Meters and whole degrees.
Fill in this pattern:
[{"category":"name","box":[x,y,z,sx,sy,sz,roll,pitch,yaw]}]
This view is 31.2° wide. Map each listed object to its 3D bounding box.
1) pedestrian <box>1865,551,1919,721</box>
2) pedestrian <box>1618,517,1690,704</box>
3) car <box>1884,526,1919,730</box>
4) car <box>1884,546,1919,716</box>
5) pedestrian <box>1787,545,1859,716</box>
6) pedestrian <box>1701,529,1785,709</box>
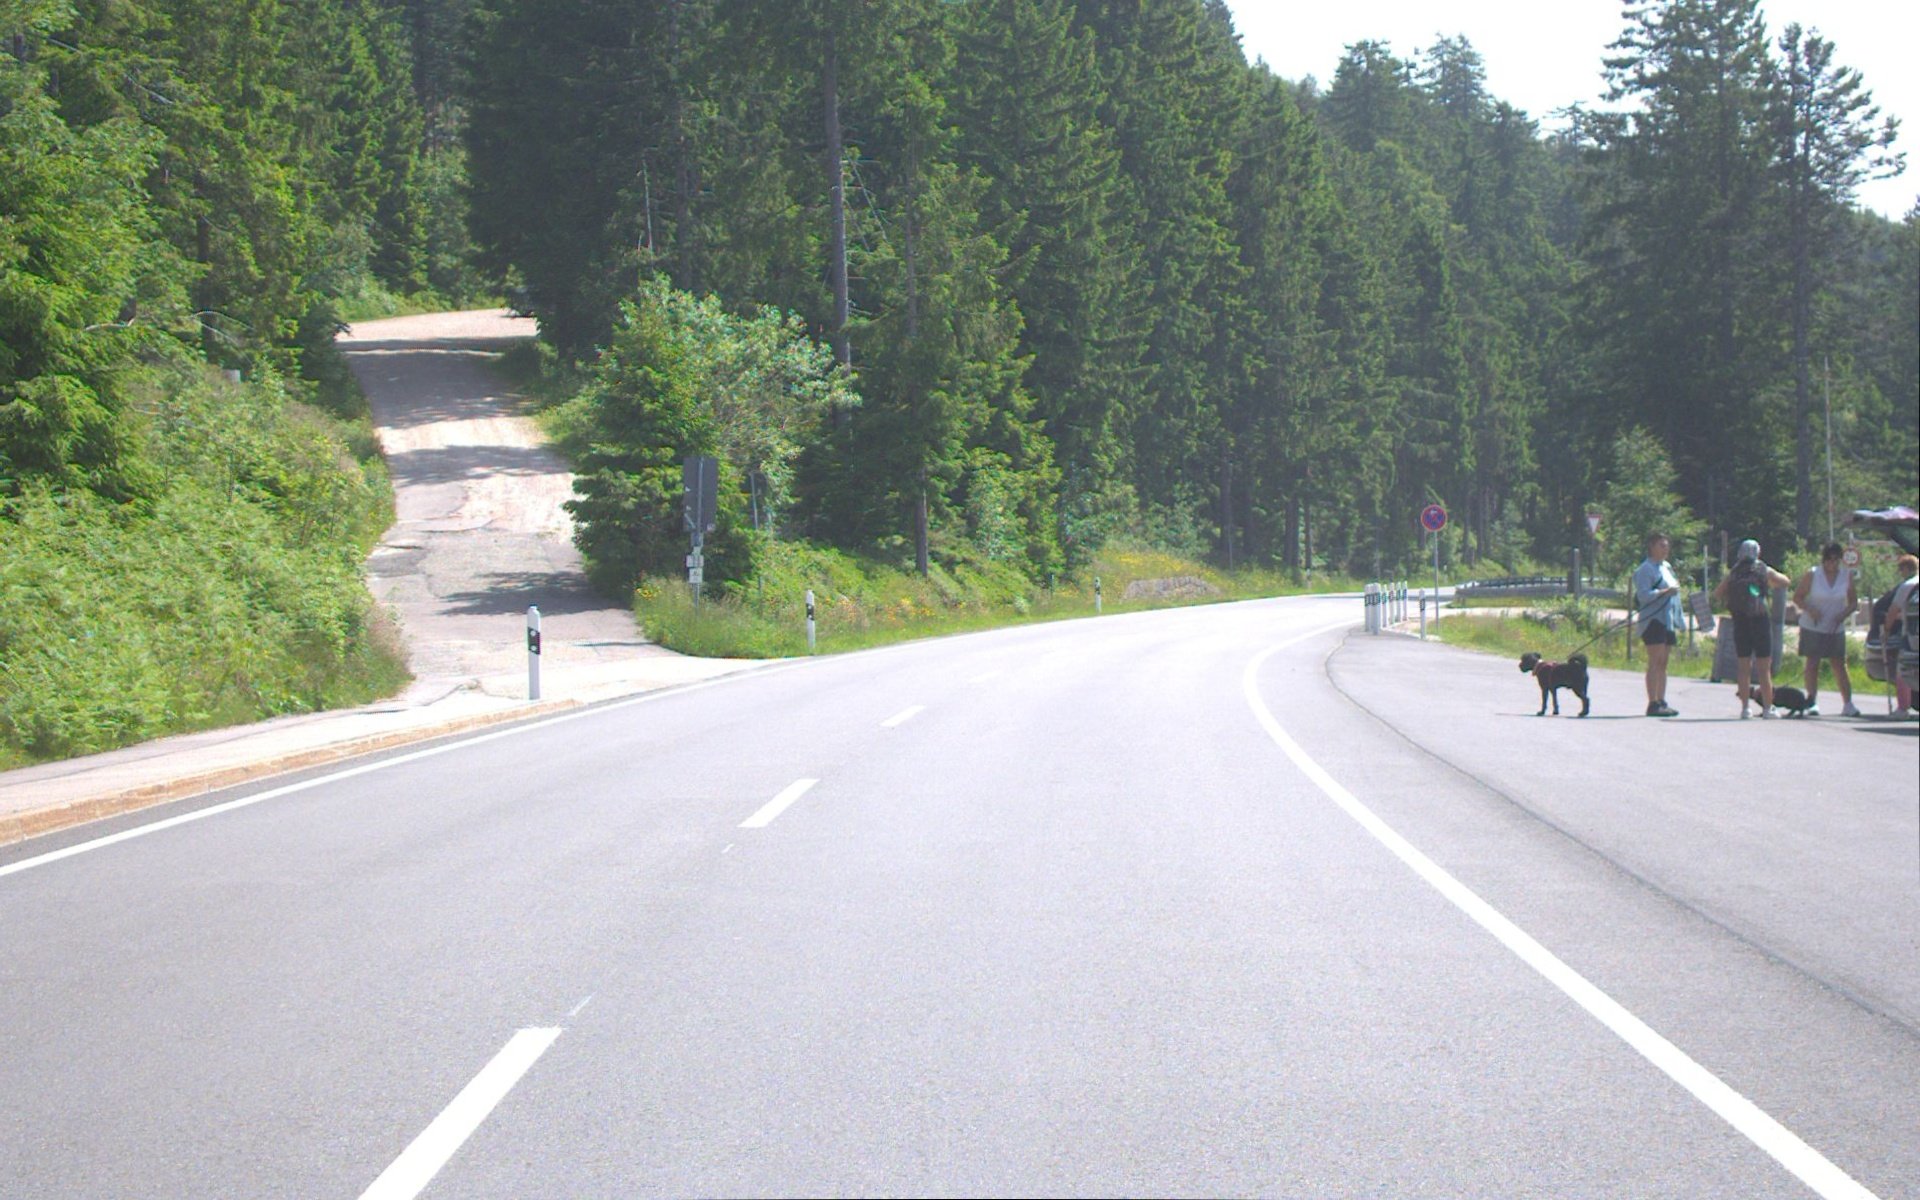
[{"category":"pedestrian","box":[8.984,0.335,32.754,0.617,1.582,0.735,-1,2,19]},{"category":"pedestrian","box":[6.643,0.091,32.920,0.617,1.769,0.723,0,1,7]},{"category":"car","box":[10.645,0.261,30.627,4.263,1.787,1.893,0,3,-2]},{"category":"car","box":[11.267,0.349,33.823,3.816,1.655,1.653,2,1,-5]},{"category":"pedestrian","box":[8.572,0.296,34.155,0.653,1.654,0.687,-1,2,13]},{"category":"pedestrian","box":[7.408,0.176,32.546,0.716,1.686,0.619,0,1,7]}]
